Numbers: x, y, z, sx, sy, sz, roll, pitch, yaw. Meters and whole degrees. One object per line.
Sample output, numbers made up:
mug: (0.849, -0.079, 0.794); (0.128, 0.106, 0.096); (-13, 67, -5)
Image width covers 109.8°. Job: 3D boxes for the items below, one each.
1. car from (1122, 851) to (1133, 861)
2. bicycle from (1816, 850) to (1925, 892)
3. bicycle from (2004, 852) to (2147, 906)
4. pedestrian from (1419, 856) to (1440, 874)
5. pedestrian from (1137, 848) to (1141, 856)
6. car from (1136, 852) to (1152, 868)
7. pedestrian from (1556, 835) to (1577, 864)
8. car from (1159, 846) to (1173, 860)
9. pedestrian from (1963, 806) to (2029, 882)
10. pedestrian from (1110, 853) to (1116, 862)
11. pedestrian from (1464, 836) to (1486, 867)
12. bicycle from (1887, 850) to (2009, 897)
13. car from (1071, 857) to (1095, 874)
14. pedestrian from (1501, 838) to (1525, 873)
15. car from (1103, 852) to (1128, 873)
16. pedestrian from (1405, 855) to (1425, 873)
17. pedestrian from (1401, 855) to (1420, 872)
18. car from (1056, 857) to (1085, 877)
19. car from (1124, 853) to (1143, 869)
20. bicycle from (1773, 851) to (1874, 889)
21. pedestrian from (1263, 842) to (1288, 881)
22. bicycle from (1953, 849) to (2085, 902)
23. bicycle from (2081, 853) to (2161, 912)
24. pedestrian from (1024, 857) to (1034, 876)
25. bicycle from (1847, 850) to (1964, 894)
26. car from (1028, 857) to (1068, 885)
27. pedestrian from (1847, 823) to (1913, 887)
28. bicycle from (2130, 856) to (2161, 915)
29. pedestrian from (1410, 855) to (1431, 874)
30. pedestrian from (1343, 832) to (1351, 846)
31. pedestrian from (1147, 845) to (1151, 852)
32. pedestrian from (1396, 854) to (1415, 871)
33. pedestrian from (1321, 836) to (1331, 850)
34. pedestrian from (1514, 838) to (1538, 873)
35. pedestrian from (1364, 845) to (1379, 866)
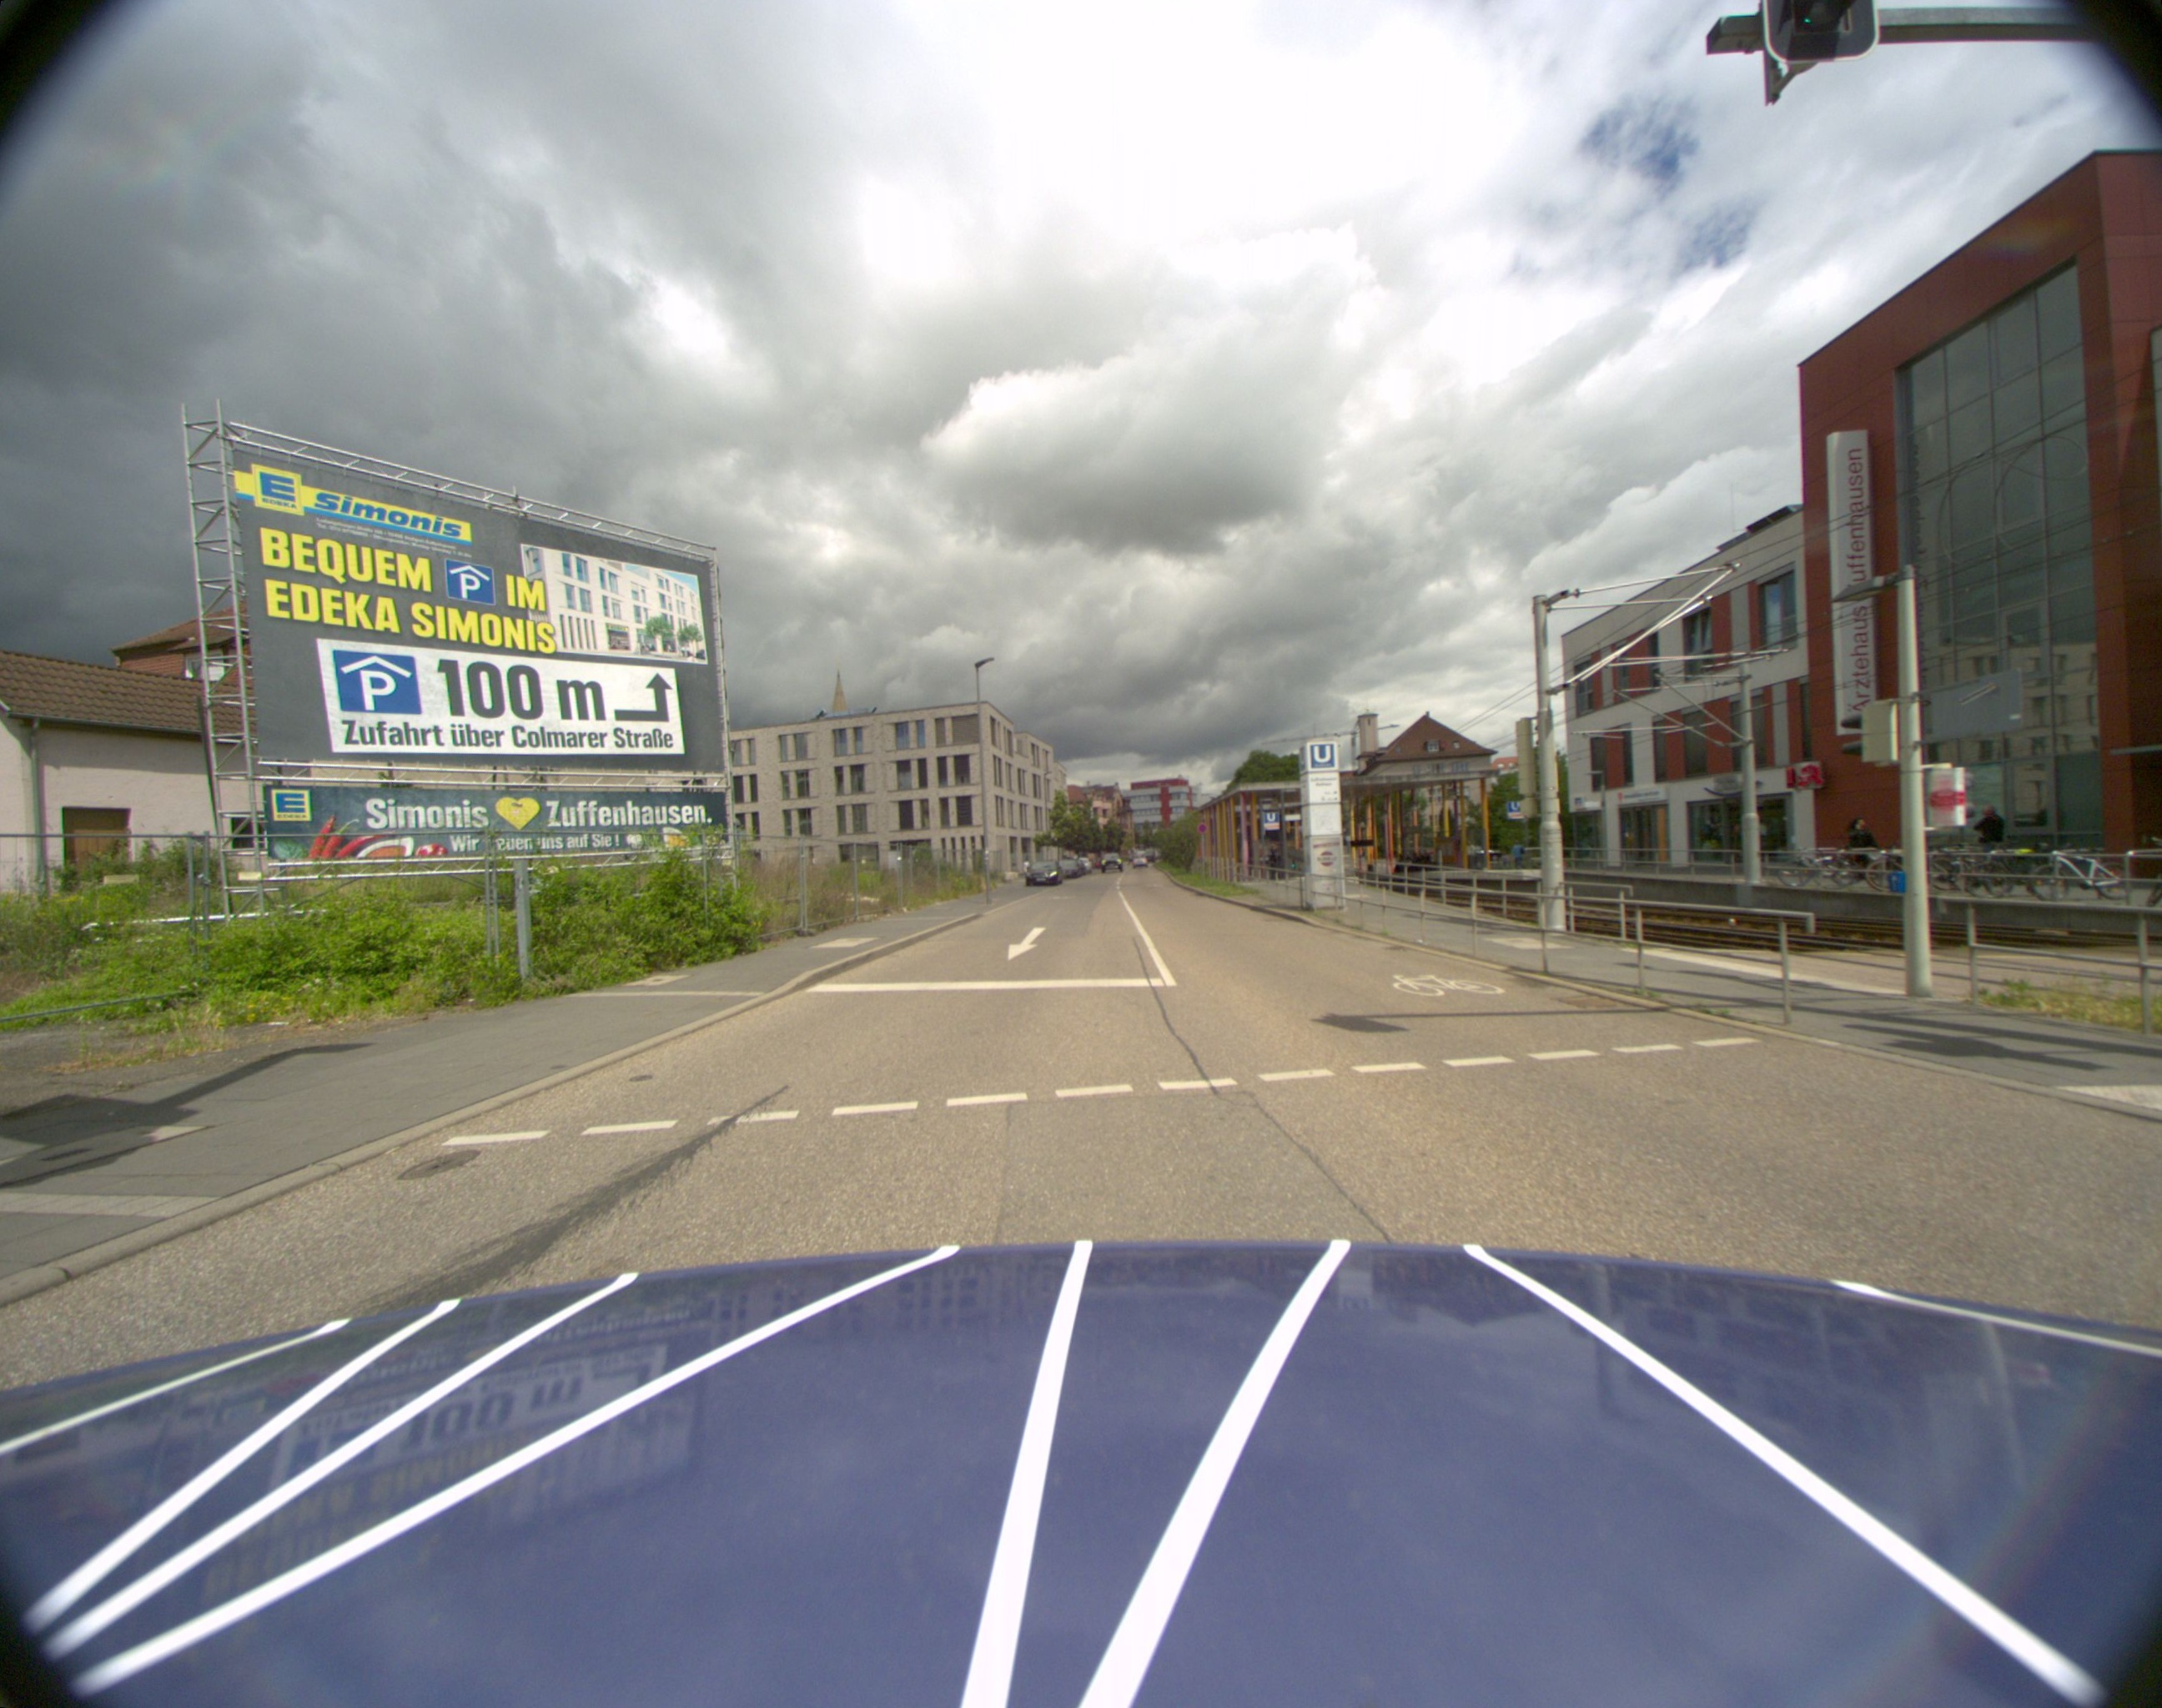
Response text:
car: (7.615, 0.321, 124.735); (1.718, 1.541, 3.794); (-1, 0, 4)
bicycle: (18.600, 0.394, 17.929); (1.860, 0.927, 0.455); (-2, 1, 12)
bicycle: (18.452, 0.456, 14.117); (1.861, 0.930, 0.455); (-2, 1, 6)
pedestrian: (21.848, 0.681, 47.638); (0.943, 1.128, 0.886); (-2, 0, 5)
pedestrian: (11.177, -0.337, 146.292); (0.673, 1.503, 0.783); (-2, 0, 6)
car: (7.098, 0.660, 85.406); (1.588, 1.528, 3.947); (-5, 1, 4)
pedestrian: (33.263, -0.306, 52.067); (1.103, 1.957, 0.866); (-1, 2, 20)
car: (13.727, -0.167, 122.729); (1.997, 2.064, 4.002); (-1, 1, 10)
pedestrian: (23.090, -0.256, 19.181); (0.881, 1.835, 0.863); (-4, 3, -24)
pedestrian: (5.380, 0.555, 127.377); (0.673, 1.503, 0.783); (-1, 0, 19)
pedestrian: (25.092, -0.184, 48.403); (0.863, 1.957, 1.106); (-1, 1, 6)
bicycle: (18.466, 0.415, 16.203); (1.861, 0.934, 0.455); (-2, 1, 8)
car: (0.183, 0.977, 64.990); (1.677, 1.299, 3.795); (-1, 1, 6)
pedestrian: (24.750, 0.091, 43.575); (0.863, 1.957, 1.106); (-1, 1, 9)
car: (3.352, 0.777, 73.272); (2.003, 1.876, 5.152); (-1, 1, 7)
pedestrian: (21.770, 0.649, 49.559); (0.943, 1.128, 0.886); (-2, 0, 5)
pedestrian: (21.918, 0.629, 50.543); (0.943, 1.128, 0.886); (-2, 0, 5)
car: (-0.744, 0.975, 57.124); (1.677, 1.367, 3.796); (-2, 0, 6)
car: (6.858, 0.929, 99.627); (1.997, 2.002, 4.003); (-2, 0, 10)
bicycle: (18.601, 0.408, 19.058); (1.860, 0.876, 0.455); (-2, 1, 12)
pedestrian: (9.773, 0.384, 38.222); (1.105, 1.903, 0.865); (-1, 2, 5)
bicycle: (18.538, 0.424, 15.046); (1.861, 0.957, 0.455); (-2, 1, 6)
bicycle: (18.464, 0.475, 13.075); (1.739, 0.952, 0.428); (-2, 1, 6)
pedestrian: (-4.136, 1.026, 60.908); (0.673, 1.503, 0.783); (-2, 0, 4)
bicycle: (18.531, 0.409, 17.102); (1.861, 0.917, 0.455); (-2, 1, 11)
car: (-1.831, 0.952, 43.304); (1.677, 1.415, 3.795); (-1, 1, 6)
pedestrian: (21.505, 0.020, 20.471); (0.788, 1.688, 0.935); (-1, 1, -3)
bicycle: (18.442, 0.489, 12.442); (1.739, 0.947, 0.428); (-2, 1, 6)
pedestrian: (21.704, 0.667, 48.603); (0.943, 1.128, 0.886); (-2, 0, 5)
pedestrian: (39.659, -2.211, 113.276); (1.124, 2.002, 1.662); (-1, 0, 19)
pedestrian: (13.775, -1.141, 154.696); (0.673, 1.503, 0.783); (-1, 0, 14)
pedestrian: (22.065, 0.560, 51.614); (0.943, 1.128, 0.886); (-2, 0, 5)
pedestrian: (34.288, -1.536, 106.441); (1.127, 2.002, 0.816); (-1, 0, 9)
pedestrian: (25.446, 0.094, 43.470); (0.863, 1.957, 1.106); (-1, 1, 9)
pedestrian: (28.131, 0.165, 73.616); (1.127, 2.002, 1.179); (-1, 0, 9)
